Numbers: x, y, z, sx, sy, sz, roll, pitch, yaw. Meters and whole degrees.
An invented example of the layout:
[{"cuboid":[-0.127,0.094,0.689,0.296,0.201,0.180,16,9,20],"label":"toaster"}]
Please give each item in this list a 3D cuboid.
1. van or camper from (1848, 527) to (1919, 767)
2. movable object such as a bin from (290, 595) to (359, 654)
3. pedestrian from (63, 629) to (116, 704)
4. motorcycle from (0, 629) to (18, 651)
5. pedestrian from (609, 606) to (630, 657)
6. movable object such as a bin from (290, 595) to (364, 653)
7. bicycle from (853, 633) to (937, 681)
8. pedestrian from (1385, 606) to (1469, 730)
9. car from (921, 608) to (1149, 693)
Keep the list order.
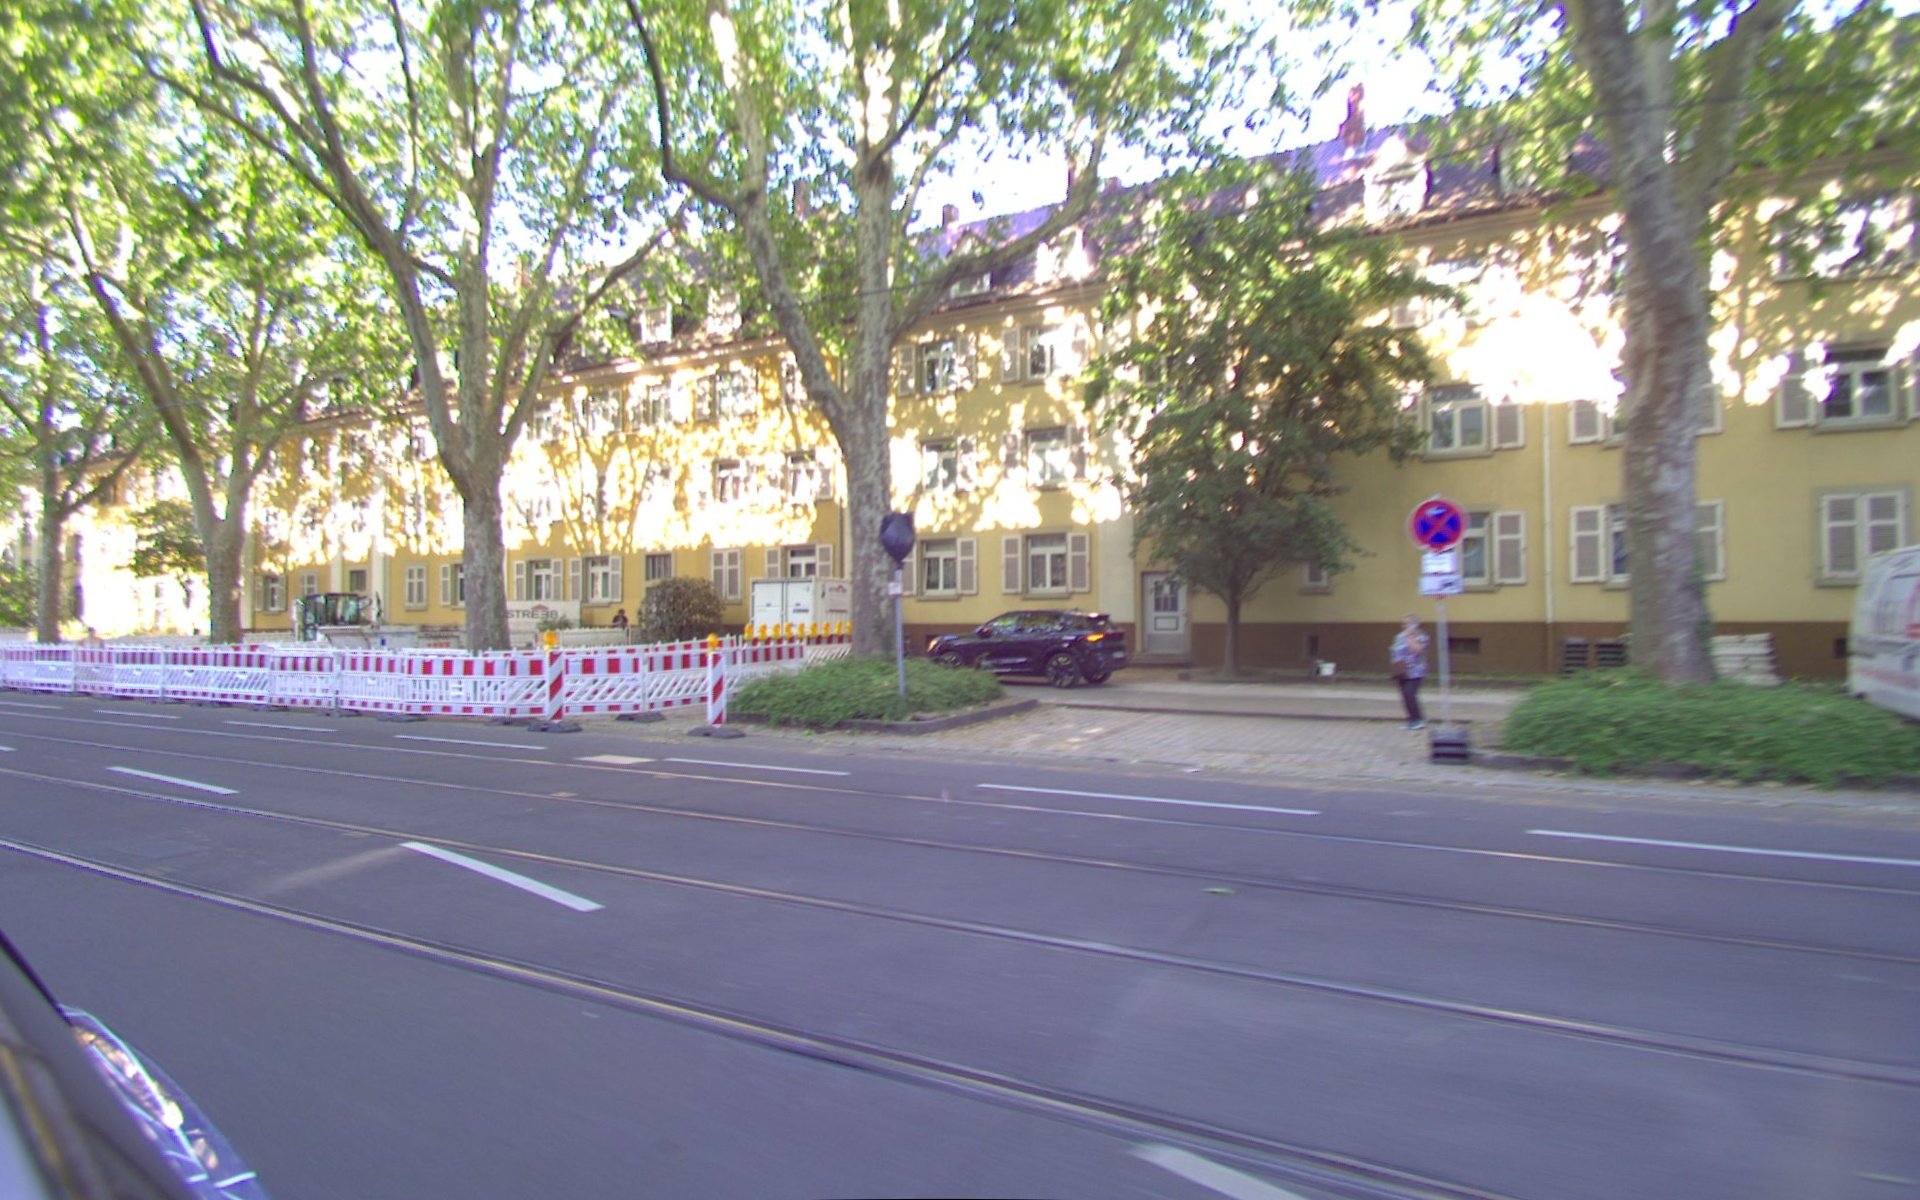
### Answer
[{"cuboid":[10.731,0.458,9.825,2.262,2.397,5.459,-1,-1,32],"label":"van or camper"},{"cuboid":[-18.438,0.715,29.368,1.553,1.658,1.090,-1,-1,29],"label":"movable object such as a bin"},{"cuboid":[-20.176,1.524,23.451,0.775,1.682,0.712,-1,-1,29],"label":"pedestrian"},{"cuboid":[-54.757,2.252,57.527,0.521,1.250,1.697,-2,-2,30],"label":"motorcycle"},{"cuboid":[-11.208,1.030,33.334,0.660,1.669,0.675,0,-2,-18],"label":"pedestrian"},{"cuboid":[-21.463,0.804,34.309,1.999,1.883,1.324,-1,-1,29],"label":"movable object such as a bin"},{"cuboid":[-1.597,1.375,24.764,2.106,1.149,0.621,-1,-2,33],"label":"bicycle"},{"cuboid":[6.463,0.911,13.997,0.887,1.624,0.753,-2,-1,37],"label":"pedestrian"},{"cuboid":[1.523,1.018,21.335,4.508,1.583,1.775,-1,-1,34],"label":"car"}]
